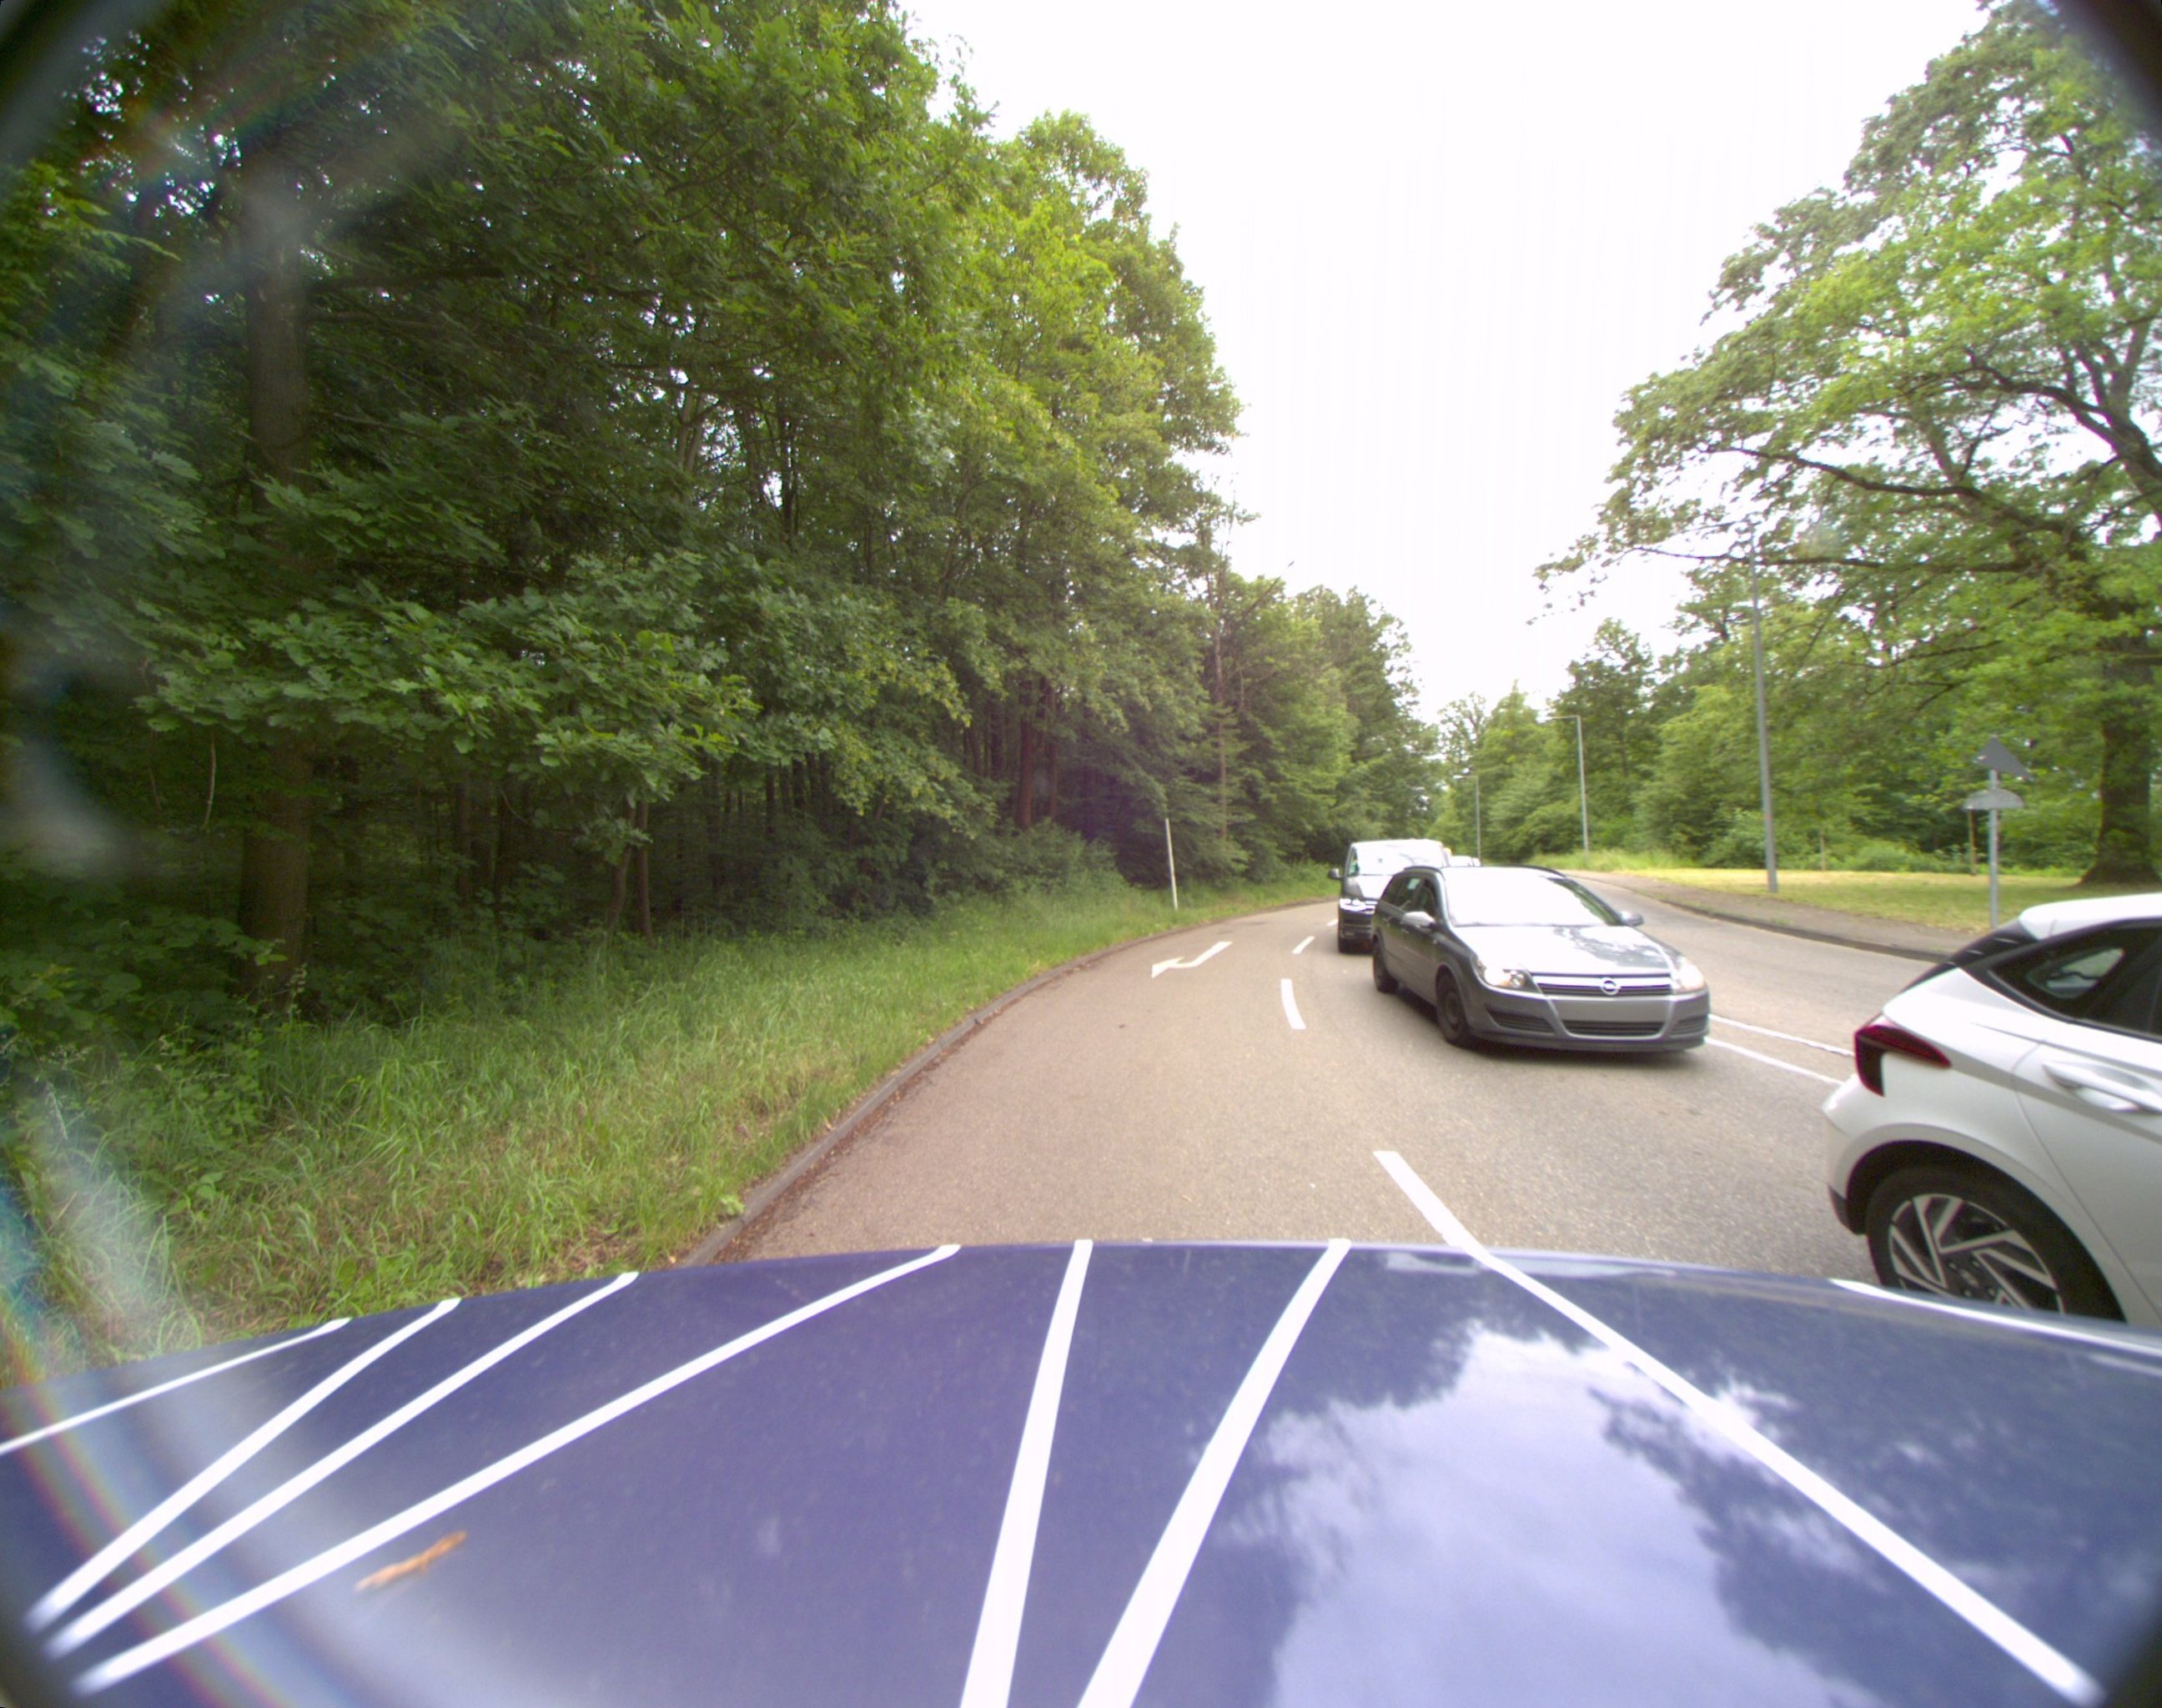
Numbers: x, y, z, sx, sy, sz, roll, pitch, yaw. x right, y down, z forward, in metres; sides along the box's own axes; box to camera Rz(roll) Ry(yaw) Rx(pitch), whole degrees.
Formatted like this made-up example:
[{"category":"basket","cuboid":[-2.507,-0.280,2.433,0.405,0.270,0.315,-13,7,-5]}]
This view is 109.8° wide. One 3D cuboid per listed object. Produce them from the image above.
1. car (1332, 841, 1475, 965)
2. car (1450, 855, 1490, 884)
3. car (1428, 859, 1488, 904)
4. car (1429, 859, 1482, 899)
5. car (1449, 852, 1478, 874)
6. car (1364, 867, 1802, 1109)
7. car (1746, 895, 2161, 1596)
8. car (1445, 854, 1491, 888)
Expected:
[{"category":"car","cuboid":[5.735,0.767,13.833,1.987,1.861,4.539,-1,-1,21]},{"category":"car","cuboid":[20.951,0.812,41.023,1.775,1.490,3.880,-2,-1,25]},{"category":"car","cuboid":[13.502,0.952,27.353,1.775,1.490,3.880,-2,-1,25]},{"category":"car","cuboid":[15.201,0.988,30.950,1.775,1.490,3.880,-2,-1,25]},{"category":"car","cuboid":[27.335,0.647,54.235,1.775,1.490,3.880,-2,-1,28]},{"category":"car","cuboid":[4.003,0.896,7.090,1.801,1.470,4.474,-1,-1,11]},{"category":"car","cuboid":[3.140,0.865,0.664,1.653,1.470,4.074,-1,-1,3]},{"category":"car","cuboid":[18.457,0.789,36.342,1.775,1.490,3.880,-2,-1,25]}]
